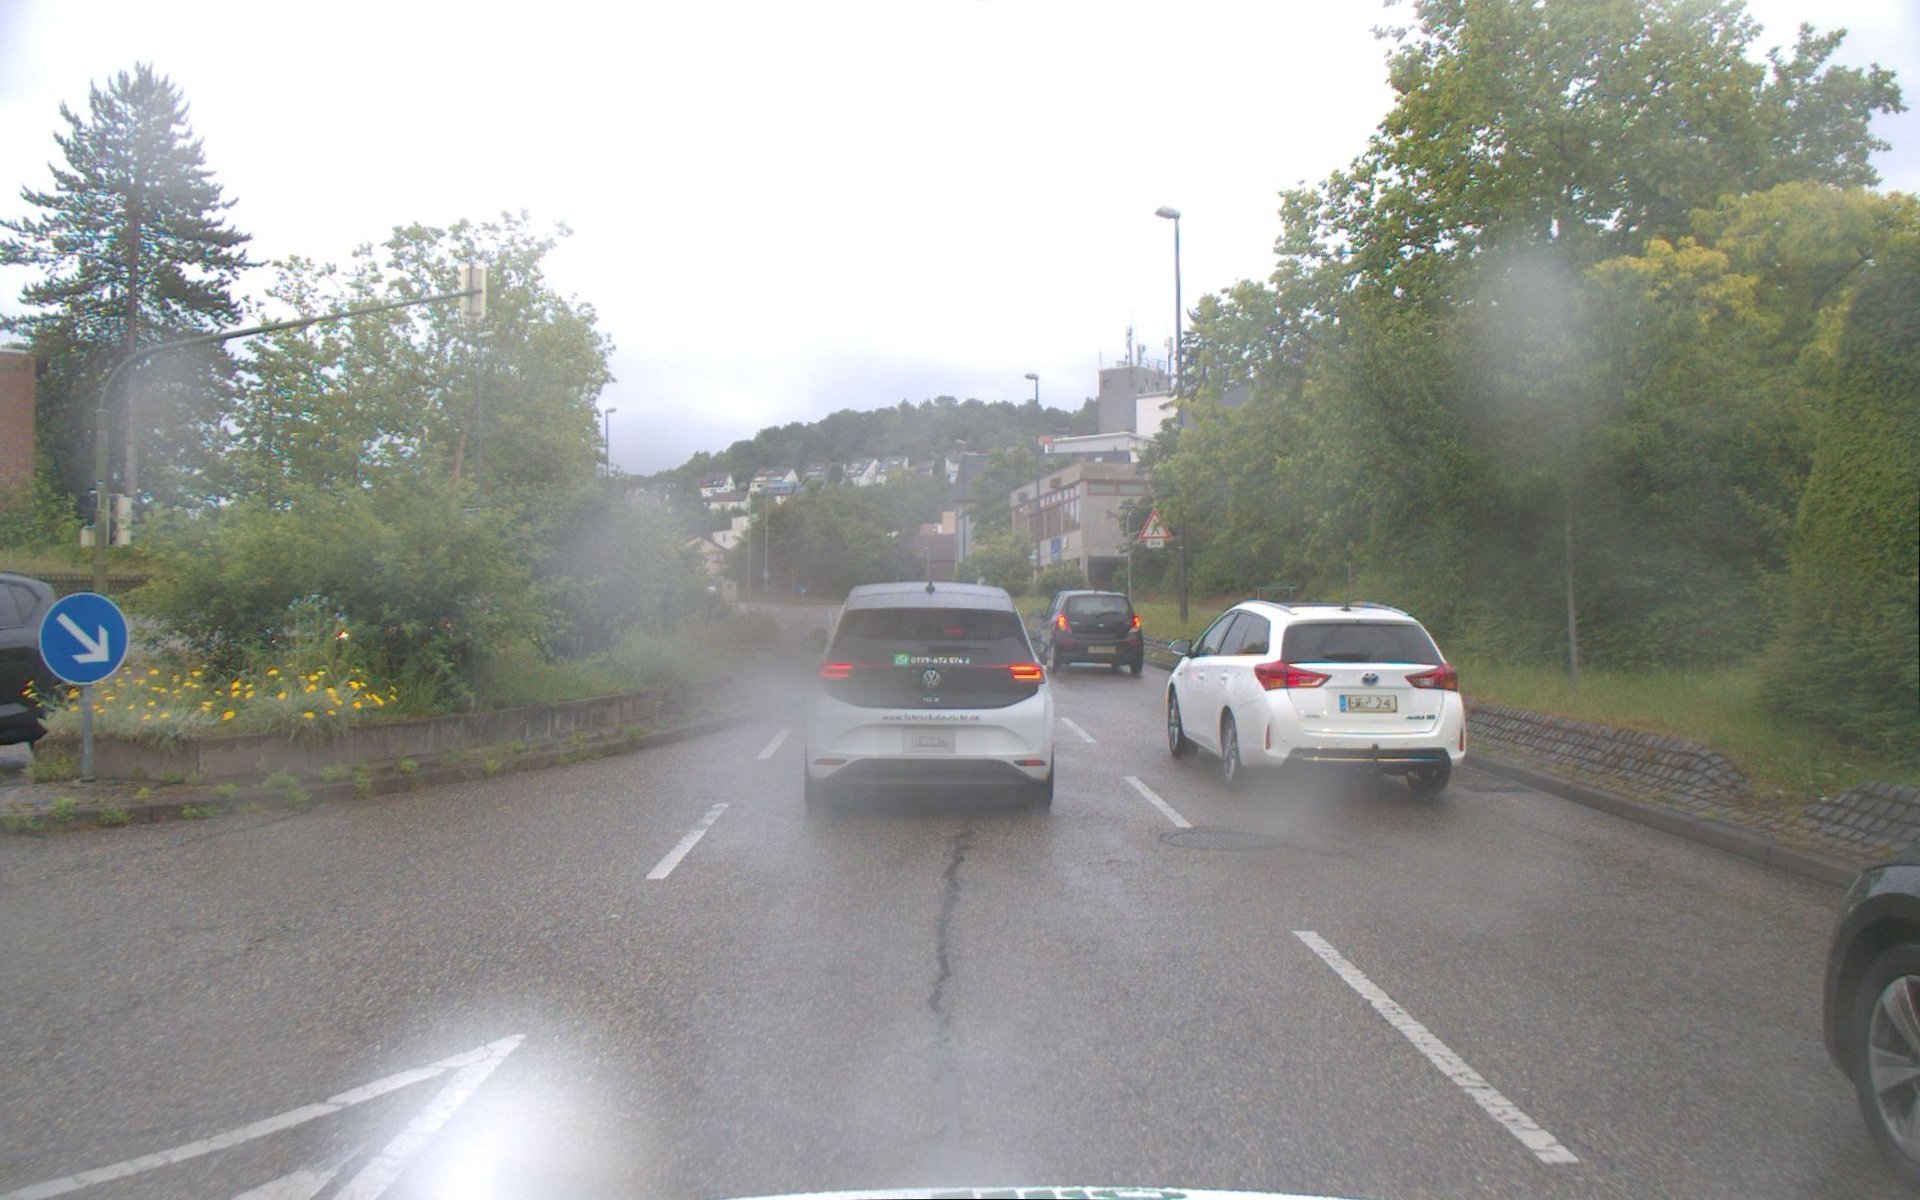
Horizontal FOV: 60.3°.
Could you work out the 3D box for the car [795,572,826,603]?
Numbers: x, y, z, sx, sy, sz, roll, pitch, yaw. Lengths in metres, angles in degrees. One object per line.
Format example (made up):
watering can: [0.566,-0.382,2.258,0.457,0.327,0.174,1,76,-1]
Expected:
car: [-10.386,-0.826,115.471,1.954,2.049,3.997,1,-1,-3]

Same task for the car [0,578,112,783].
car: [-8.331,0.634,12.453,1.864,1.579,4.073,-1,0,-2]

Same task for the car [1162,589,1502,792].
car: [2.903,0.660,13.873,1.810,1.434,4.300,0,-1,-1]

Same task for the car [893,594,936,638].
car: [-2.161,0.759,79.147,1.953,2.049,3.999,1,-1,-1]

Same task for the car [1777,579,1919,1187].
car: [3.442,0.737,2.599,1.914,1.534,4.607,2,-1,-2]

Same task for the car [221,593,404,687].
car: [-12.056,0.698,31.098,1.953,1.606,3.998,-1,0,-2]

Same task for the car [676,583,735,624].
car: [-10.964,0.135,71.554,1.953,1.691,4.596,-1,0,-2]

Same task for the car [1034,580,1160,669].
car: [2.504,0.451,31.060,1.953,1.478,3.770,-2,0,-1]

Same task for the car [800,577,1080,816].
car: [-0.159,0.636,12.713,1.791,1.526,4.167,0,-1,-1]
